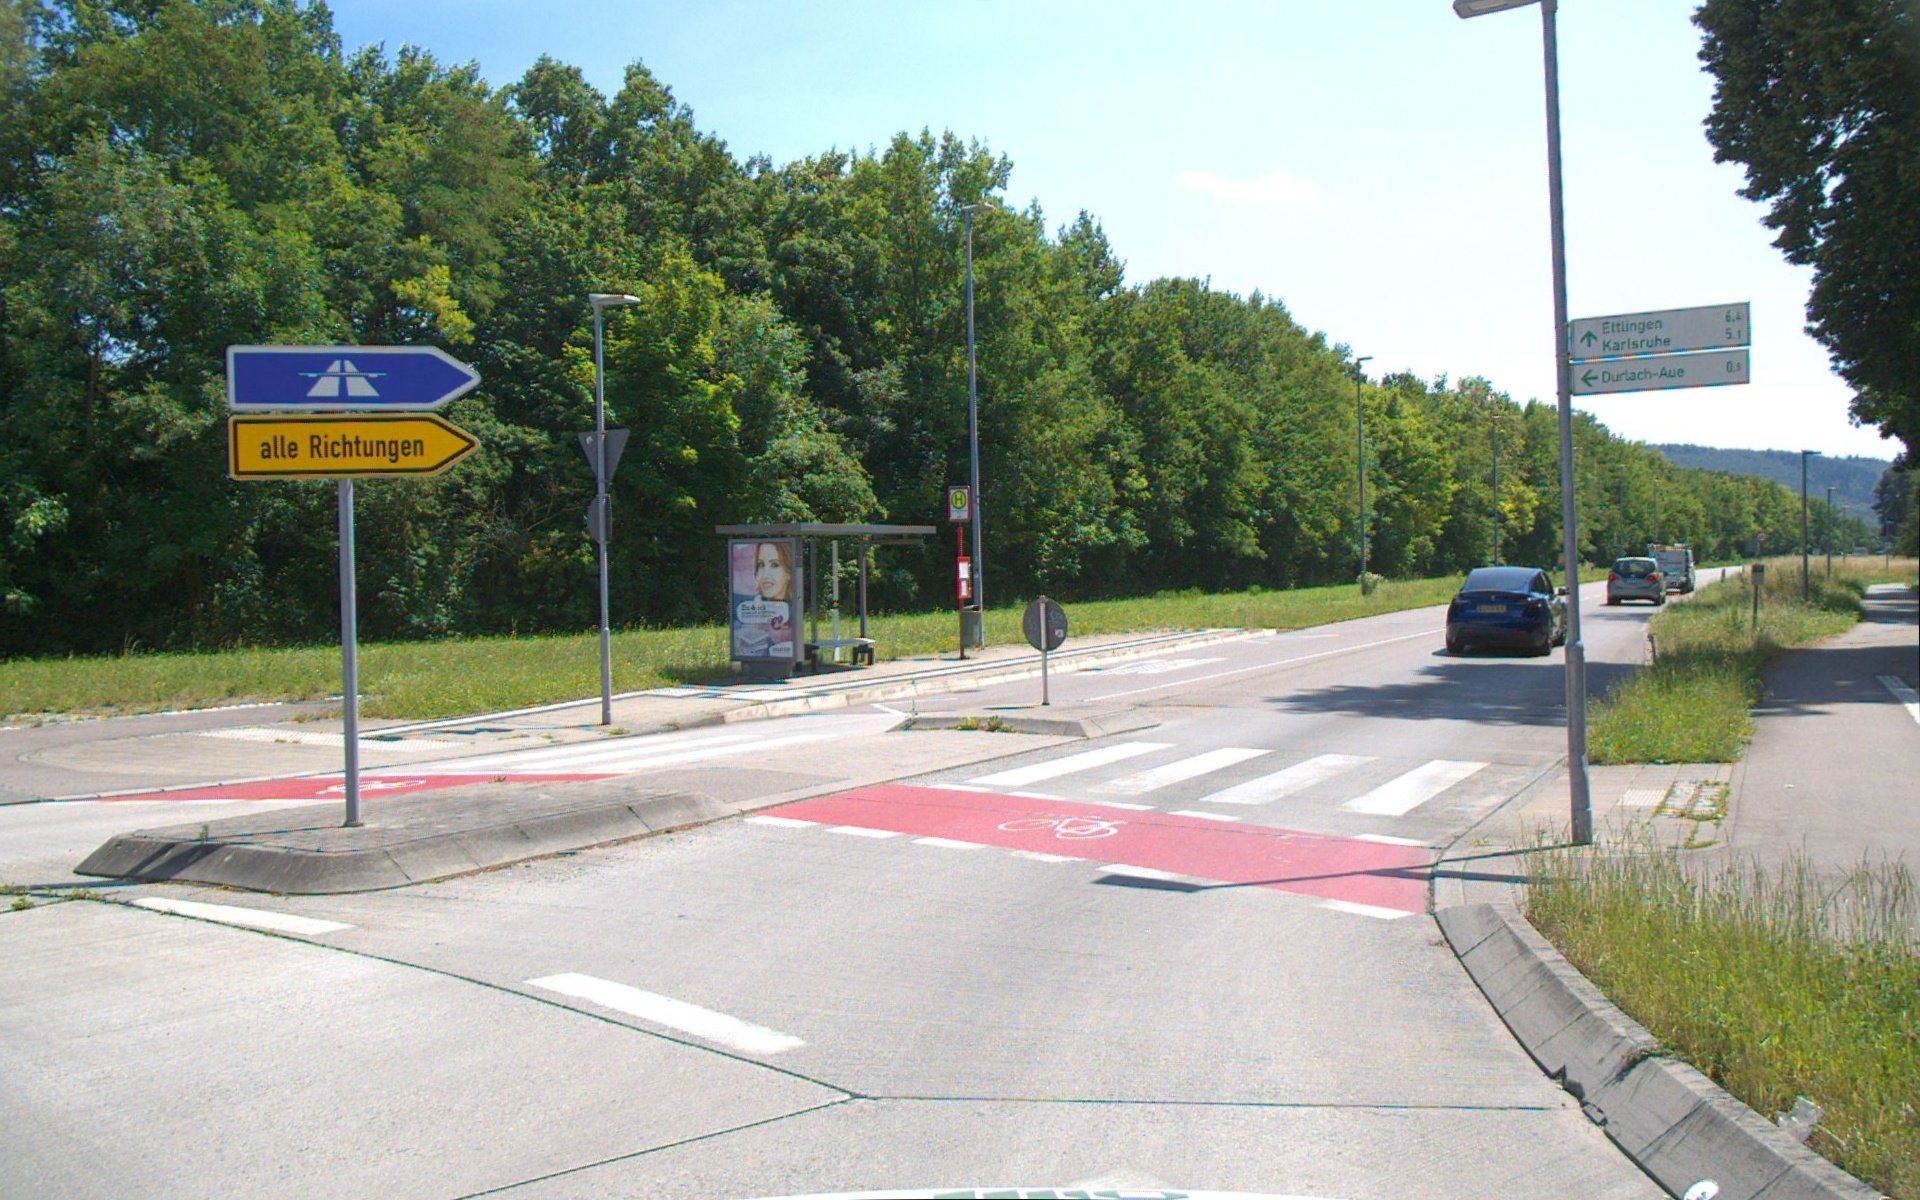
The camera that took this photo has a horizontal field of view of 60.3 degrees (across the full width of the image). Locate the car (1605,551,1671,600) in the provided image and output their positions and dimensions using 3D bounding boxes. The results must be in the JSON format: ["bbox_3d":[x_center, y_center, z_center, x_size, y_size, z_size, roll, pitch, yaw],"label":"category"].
[{"bbox_3d":[23.447,-0.866,57.125,1.750,1.634,4.122,0,1,28],"label":"car"}]

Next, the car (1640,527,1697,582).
[{"bbox_3d":[31.795,-2.012,74.192,2.123,2.356,4.977,0,1,26],"label":"car"}]

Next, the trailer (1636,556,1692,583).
[{"bbox_3d":[30.008,-1.303,70.448,2.079,1.116,3.353,0,1,25],"label":"trailer"}]

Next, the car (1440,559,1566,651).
[{"bbox_3d":[10.797,0.038,32.676,1.953,1.668,4.756,-1,1,23],"label":"car"}]
